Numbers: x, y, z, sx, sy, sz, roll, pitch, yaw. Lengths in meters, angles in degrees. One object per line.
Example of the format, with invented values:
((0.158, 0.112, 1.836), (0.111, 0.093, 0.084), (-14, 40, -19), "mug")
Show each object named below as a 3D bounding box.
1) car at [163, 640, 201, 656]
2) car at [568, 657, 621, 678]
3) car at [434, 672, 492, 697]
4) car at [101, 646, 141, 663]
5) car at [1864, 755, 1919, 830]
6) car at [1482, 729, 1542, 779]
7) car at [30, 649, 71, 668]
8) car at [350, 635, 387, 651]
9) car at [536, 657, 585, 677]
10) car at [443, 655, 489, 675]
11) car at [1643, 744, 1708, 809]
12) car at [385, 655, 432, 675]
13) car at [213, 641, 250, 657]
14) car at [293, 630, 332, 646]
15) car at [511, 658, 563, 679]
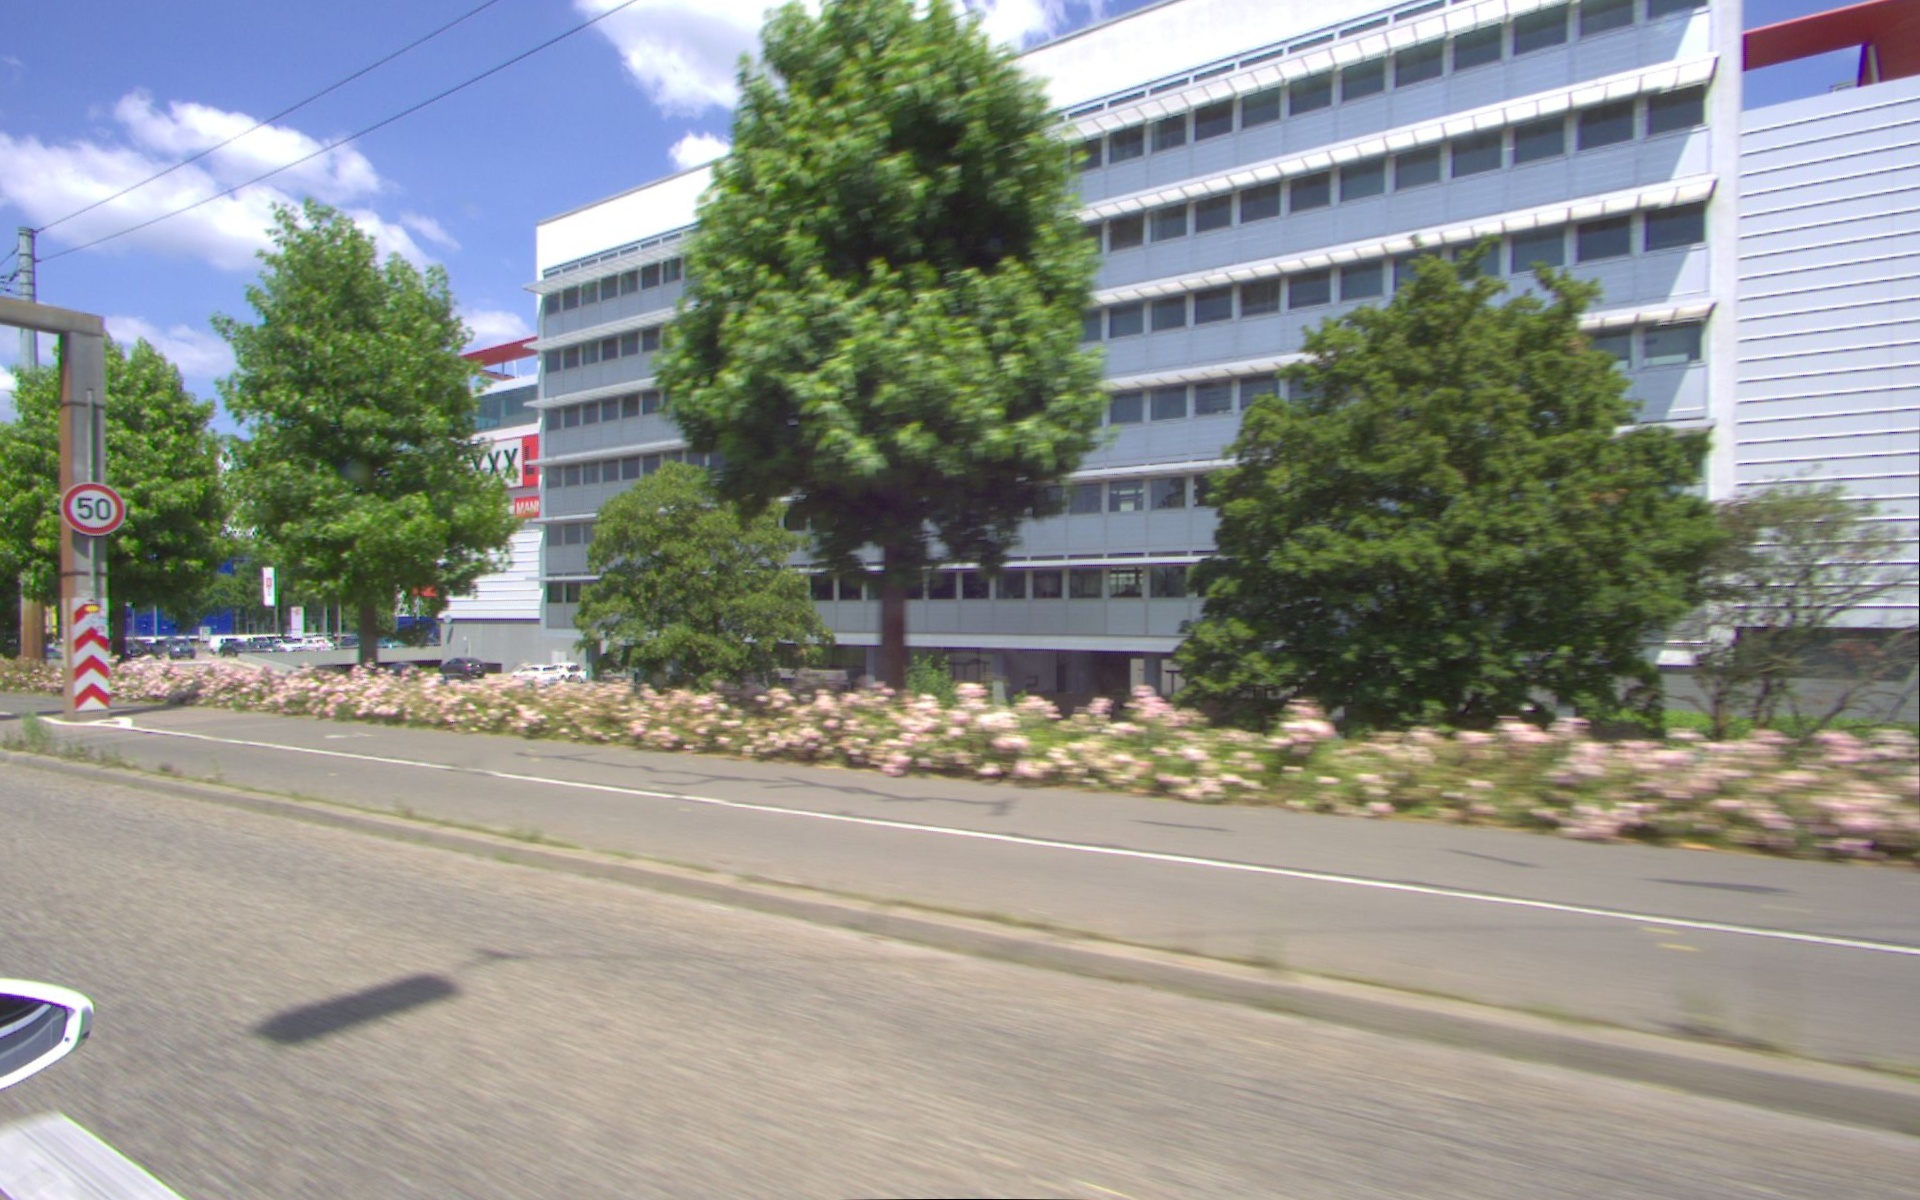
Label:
((-74.172, 4.580, 95.452), (3.831, 1.501, 1.569), (0, -2, 31), "car")
((-28.971, 5.351, 79.321), (4.179, 1.501, 1.738), (0, -2, 33), "car")
((-33.908, 5.734, 68.262), (4.029, 1.501, 1.738), (0, -2, 33), "car")
((-76.796, 4.980, 91.653), (3.831, 1.501, 1.569), (0, -2, 31), "car")
((27.878, 5.626, 29.277), (1.571, 1.614, 3.356), (2, 1, 33), "car")
((19.289, 5.314, 34.952), (1.439, 1.302, 3.355), (0, -2, 36), "car")
((-79.096, 5.054, 87.046), (3.831, 1.501, 1.569), (0, -2, 31), "car")
((-59.226, 4.318, 100.280), (3.831, 1.501, 1.569), (0, -2, 31), "car")
((-32.569, 5.464, 81.574), (3.907, 1.501, 1.738), (0, -2, 33), "car")
((-41.839, 5.478, 84.821), (3.907, 1.501, 1.738), (0, -2, 33), "car")
((22.781, 5.575, 31.958), (1.523, 1.536, 3.358), (0, -2, 33), "car")
((-44.901, 5.293, 81.488), (3.907, 1.501, 1.738), (0, -2, 33), "car")
((-71.997, 4.871, 98.933), (3.831, 1.501, 1.569), (0, -2, 31), "car")
((-62.615, 3.668, 96.818), (3.831, 1.501, 1.569), (0, -2, 31), "car")
((-33.330, 5.369, 78.908), (4.179, 1.501, 1.738), (0, -2, 33), "car")
